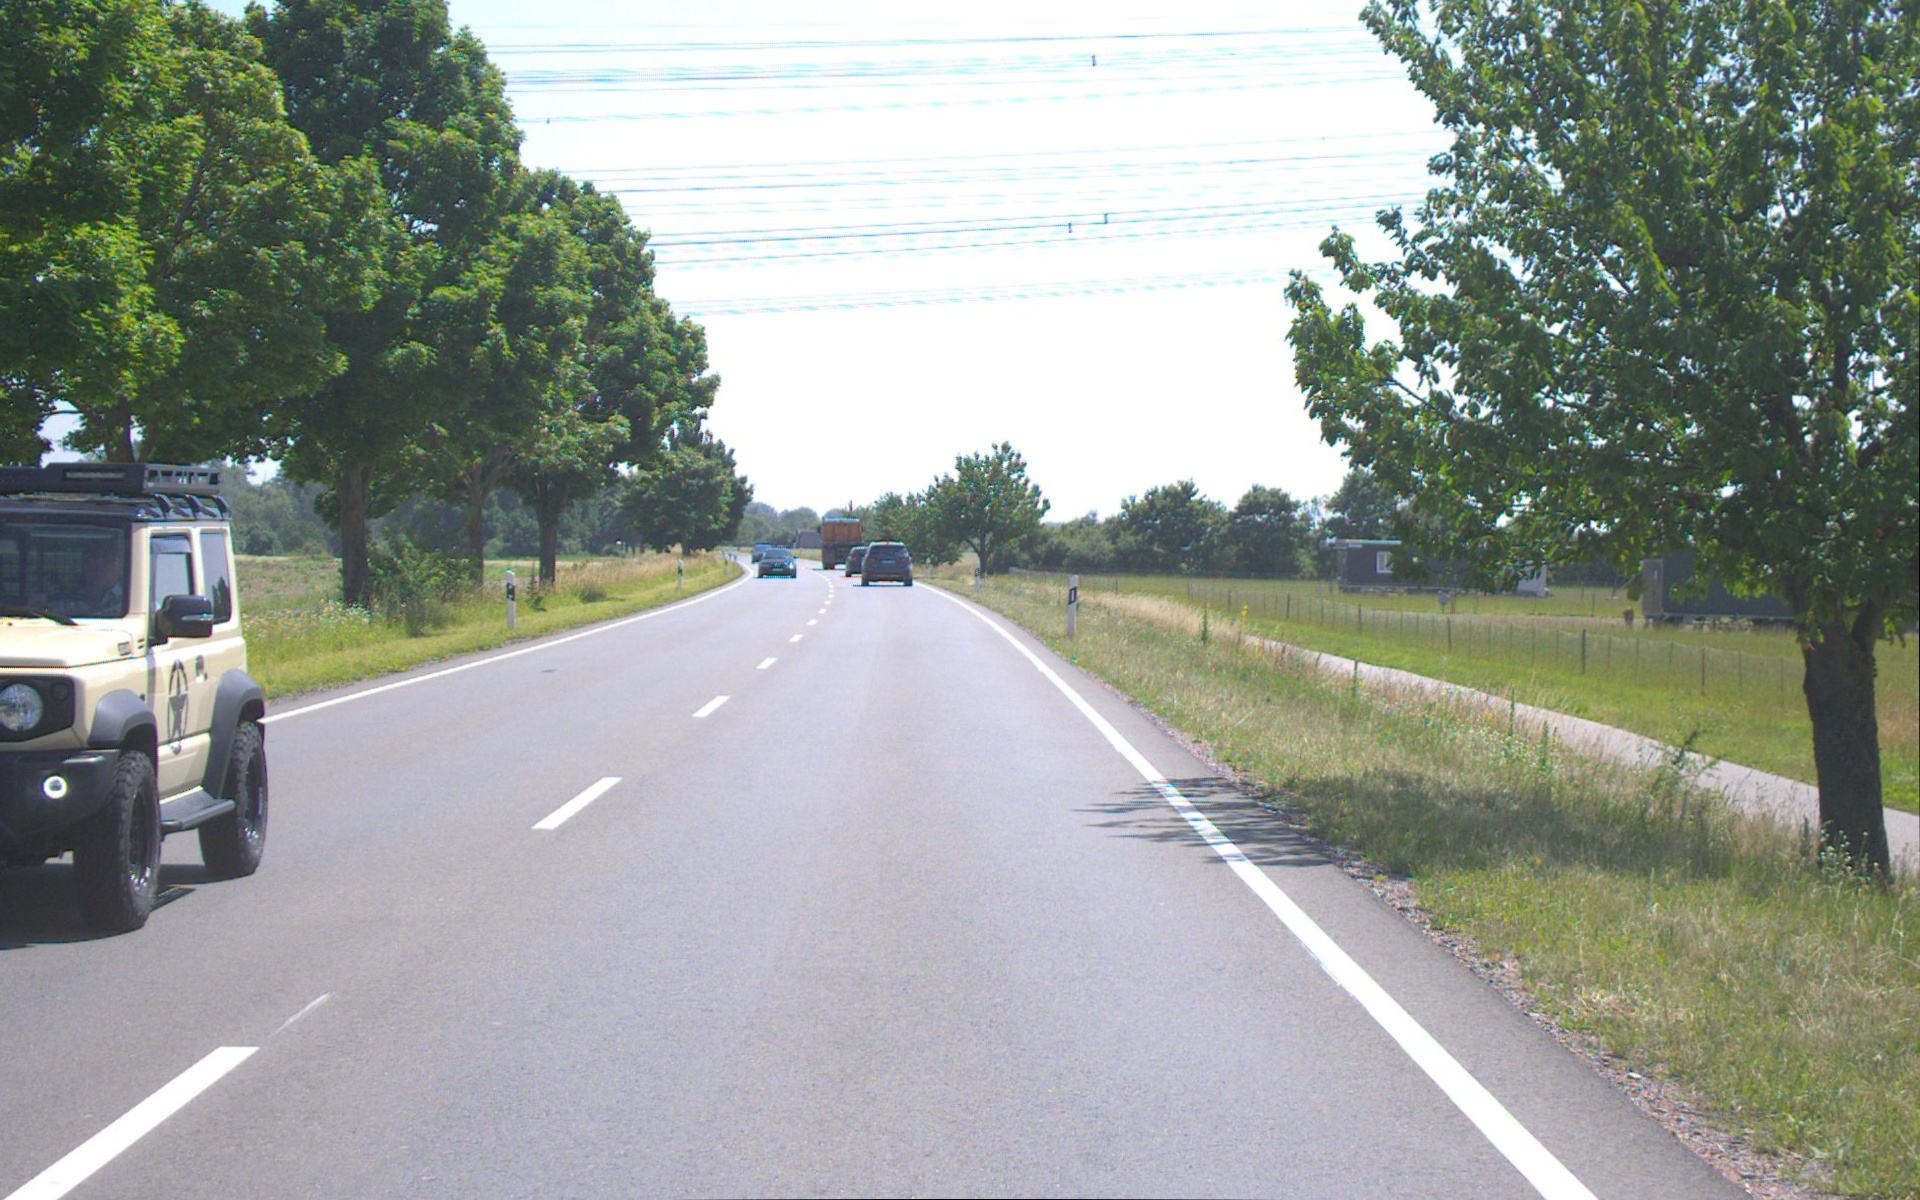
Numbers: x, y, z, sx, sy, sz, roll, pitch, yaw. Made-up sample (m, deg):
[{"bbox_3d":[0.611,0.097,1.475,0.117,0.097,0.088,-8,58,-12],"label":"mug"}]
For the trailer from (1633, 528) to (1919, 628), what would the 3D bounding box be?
[{"bbox_3d":[32.693,-0.791,130.453,13.508,3.463,3.277,2,1,-3],"label":"trailer"}]

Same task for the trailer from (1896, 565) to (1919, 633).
[{"bbox_3d":[36.905,0.001,128.057,3.407,2.454,2.038,2,1,-3],"label":"trailer"}]

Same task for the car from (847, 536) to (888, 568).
[{"bbox_3d":[-4.504,-2.354,167.474,1.850,1.517,4.001,1,1,-4],"label":"car"}]

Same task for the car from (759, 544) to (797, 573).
[{"bbox_3d":[-8.529,-1.934,160.861,1.704,1.328,4.001,1,1,-4],"label":"car"}]

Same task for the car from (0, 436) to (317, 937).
[{"bbox_3d":[-3.948,0.289,14.675,1.681,1.842,4.000,1,1,-1],"label":"car"}]

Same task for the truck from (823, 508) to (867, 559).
[{"bbox_3d":[-7.266,-4.134,216.002,2.370,3.129,8.749,1,1,-5],"label":"truck"}]

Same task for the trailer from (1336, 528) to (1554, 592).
[{"bbox_3d":[29.294,-2.440,207.877,12.409,3.461,3.806,2,1,-4],"label":"trailer"}]

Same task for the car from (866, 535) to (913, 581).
[{"bbox_3d":[-2.686,-1.589,130.413,1.714,1.688,3.989,1,1,-2],"label":"car"}]
